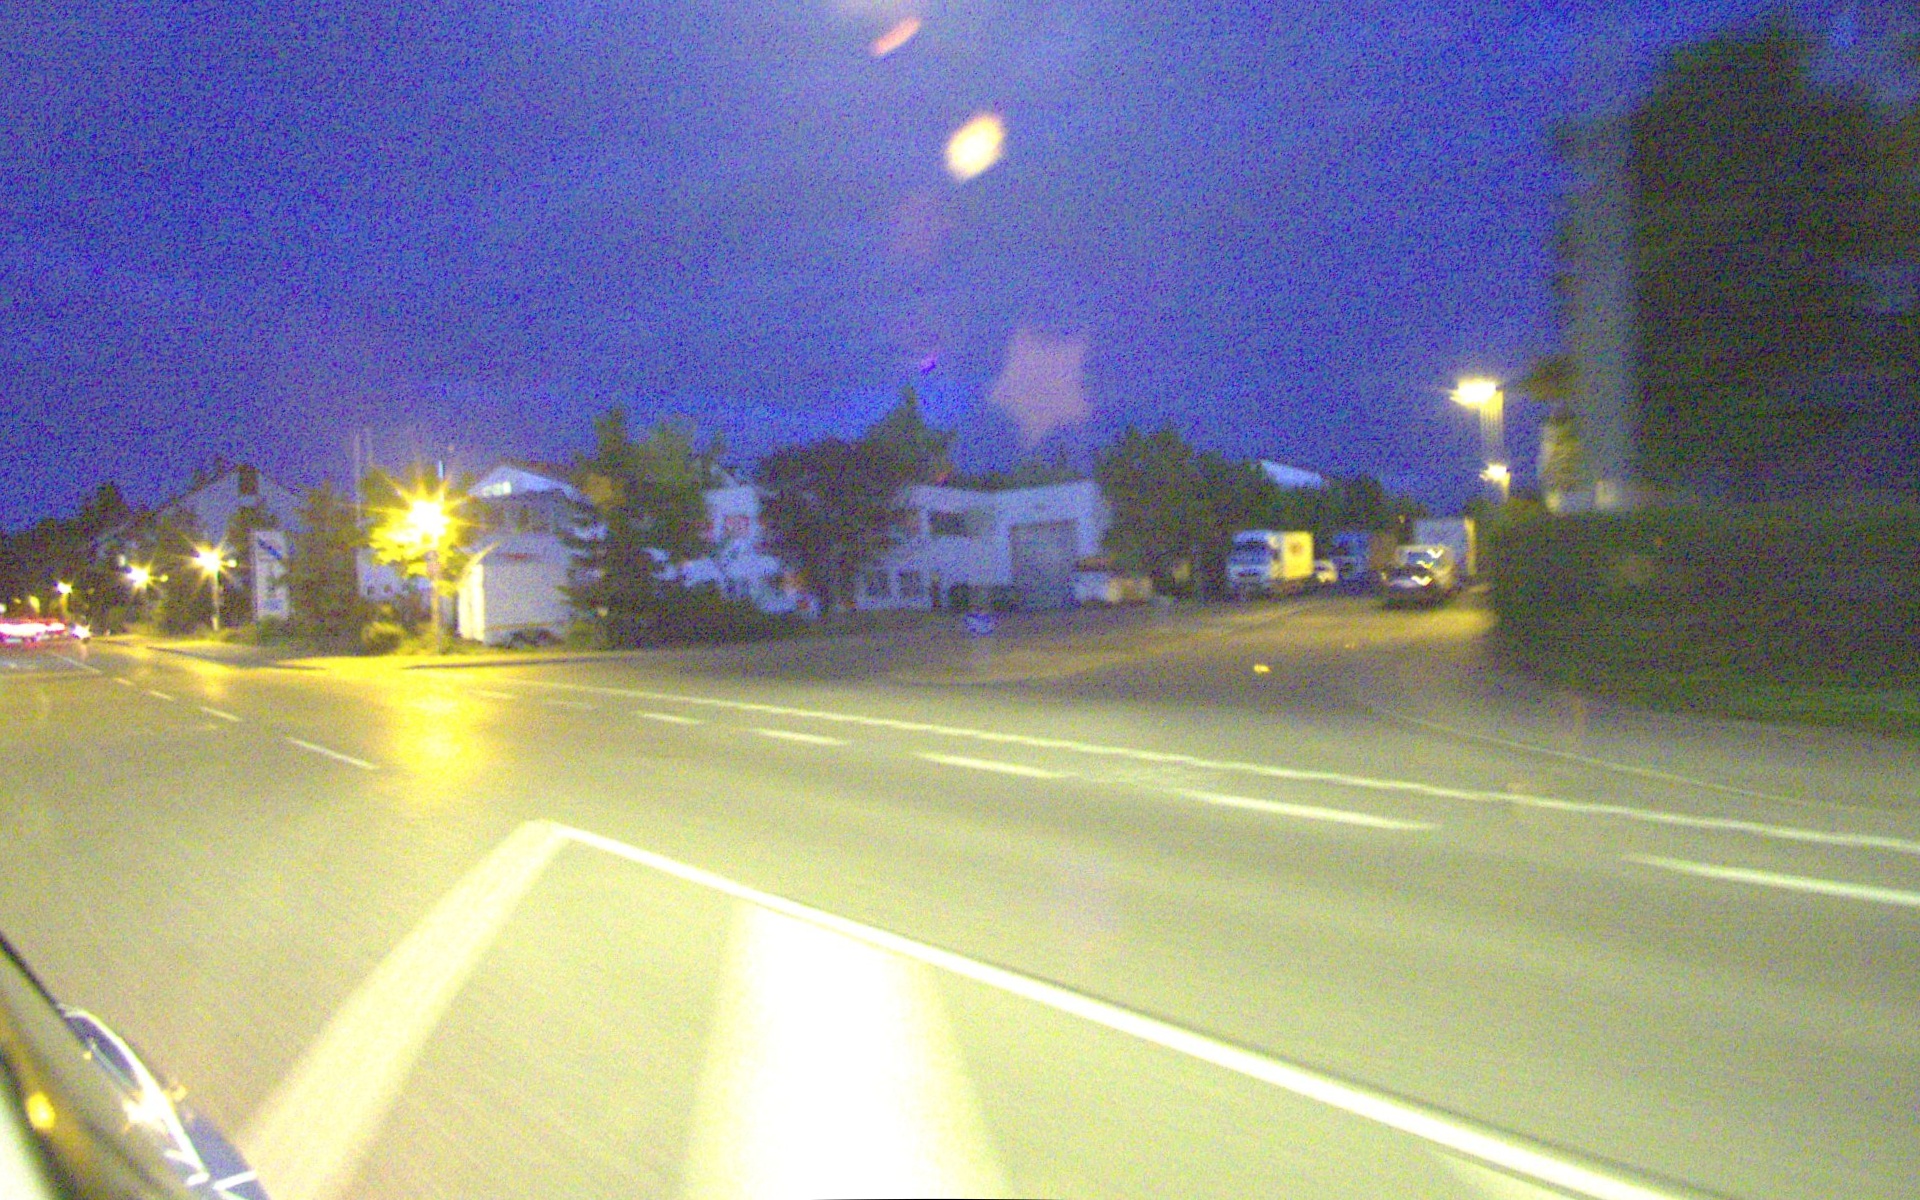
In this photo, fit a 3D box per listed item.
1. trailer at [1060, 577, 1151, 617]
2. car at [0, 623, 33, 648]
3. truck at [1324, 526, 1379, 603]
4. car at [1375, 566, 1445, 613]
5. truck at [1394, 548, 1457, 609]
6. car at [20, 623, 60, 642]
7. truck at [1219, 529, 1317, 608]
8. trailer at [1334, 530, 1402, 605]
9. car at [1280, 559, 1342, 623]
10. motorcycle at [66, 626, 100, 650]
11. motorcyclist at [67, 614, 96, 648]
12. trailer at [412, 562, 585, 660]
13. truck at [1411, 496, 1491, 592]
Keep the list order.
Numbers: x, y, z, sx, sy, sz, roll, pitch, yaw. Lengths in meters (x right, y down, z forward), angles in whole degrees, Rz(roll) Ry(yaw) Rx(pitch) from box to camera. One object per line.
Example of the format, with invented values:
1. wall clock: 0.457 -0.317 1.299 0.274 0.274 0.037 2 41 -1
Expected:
1. trailer: 6.773 -0.155 46.601 1.876 1.634 5.177 -2 0 36
2. car: -67.463 2.495 71.997 4.754 1.639 1.971 -2 0 44
3. truck: 30.613 -2.642 79.041 2.929 5.625 5.205 -2 -2 32
4. car: 16.766 -0.411 37.589 1.903 1.601 4.305 -2 0 30
5. truck: 19.962 -0.909 43.295 2.153 2.407 4.996 -2 0 28
6. car: -74.209 2.641 81.612 4.913 1.456 1.830 -2 0 41
7. truck: 17.053 -1.549 55.531 2.864 3.755 9.501 -2 -2 31
8. trailer: 34.514 -2.527 85.192 2.917 5.590 12.442 -2 -2 32
9. car: 22.979 -0.485 66.122 2.898 3.909 6.164 -1 -2 28
10. motorcycle: -50.767 2.205 58.554 2.823 1.314 0.987 -2 0 39
11. motorcyclist: -50.859 1.803 58.596 0.832 1.914 1.123 -2 0 38
12. trailer: -13.771 0.360 30.331 2.000 2.741 4.300 -3 -3 44
13. truck: 29.869 -3.096 61.035 3.463 4.846 17.235 -2 0 28
